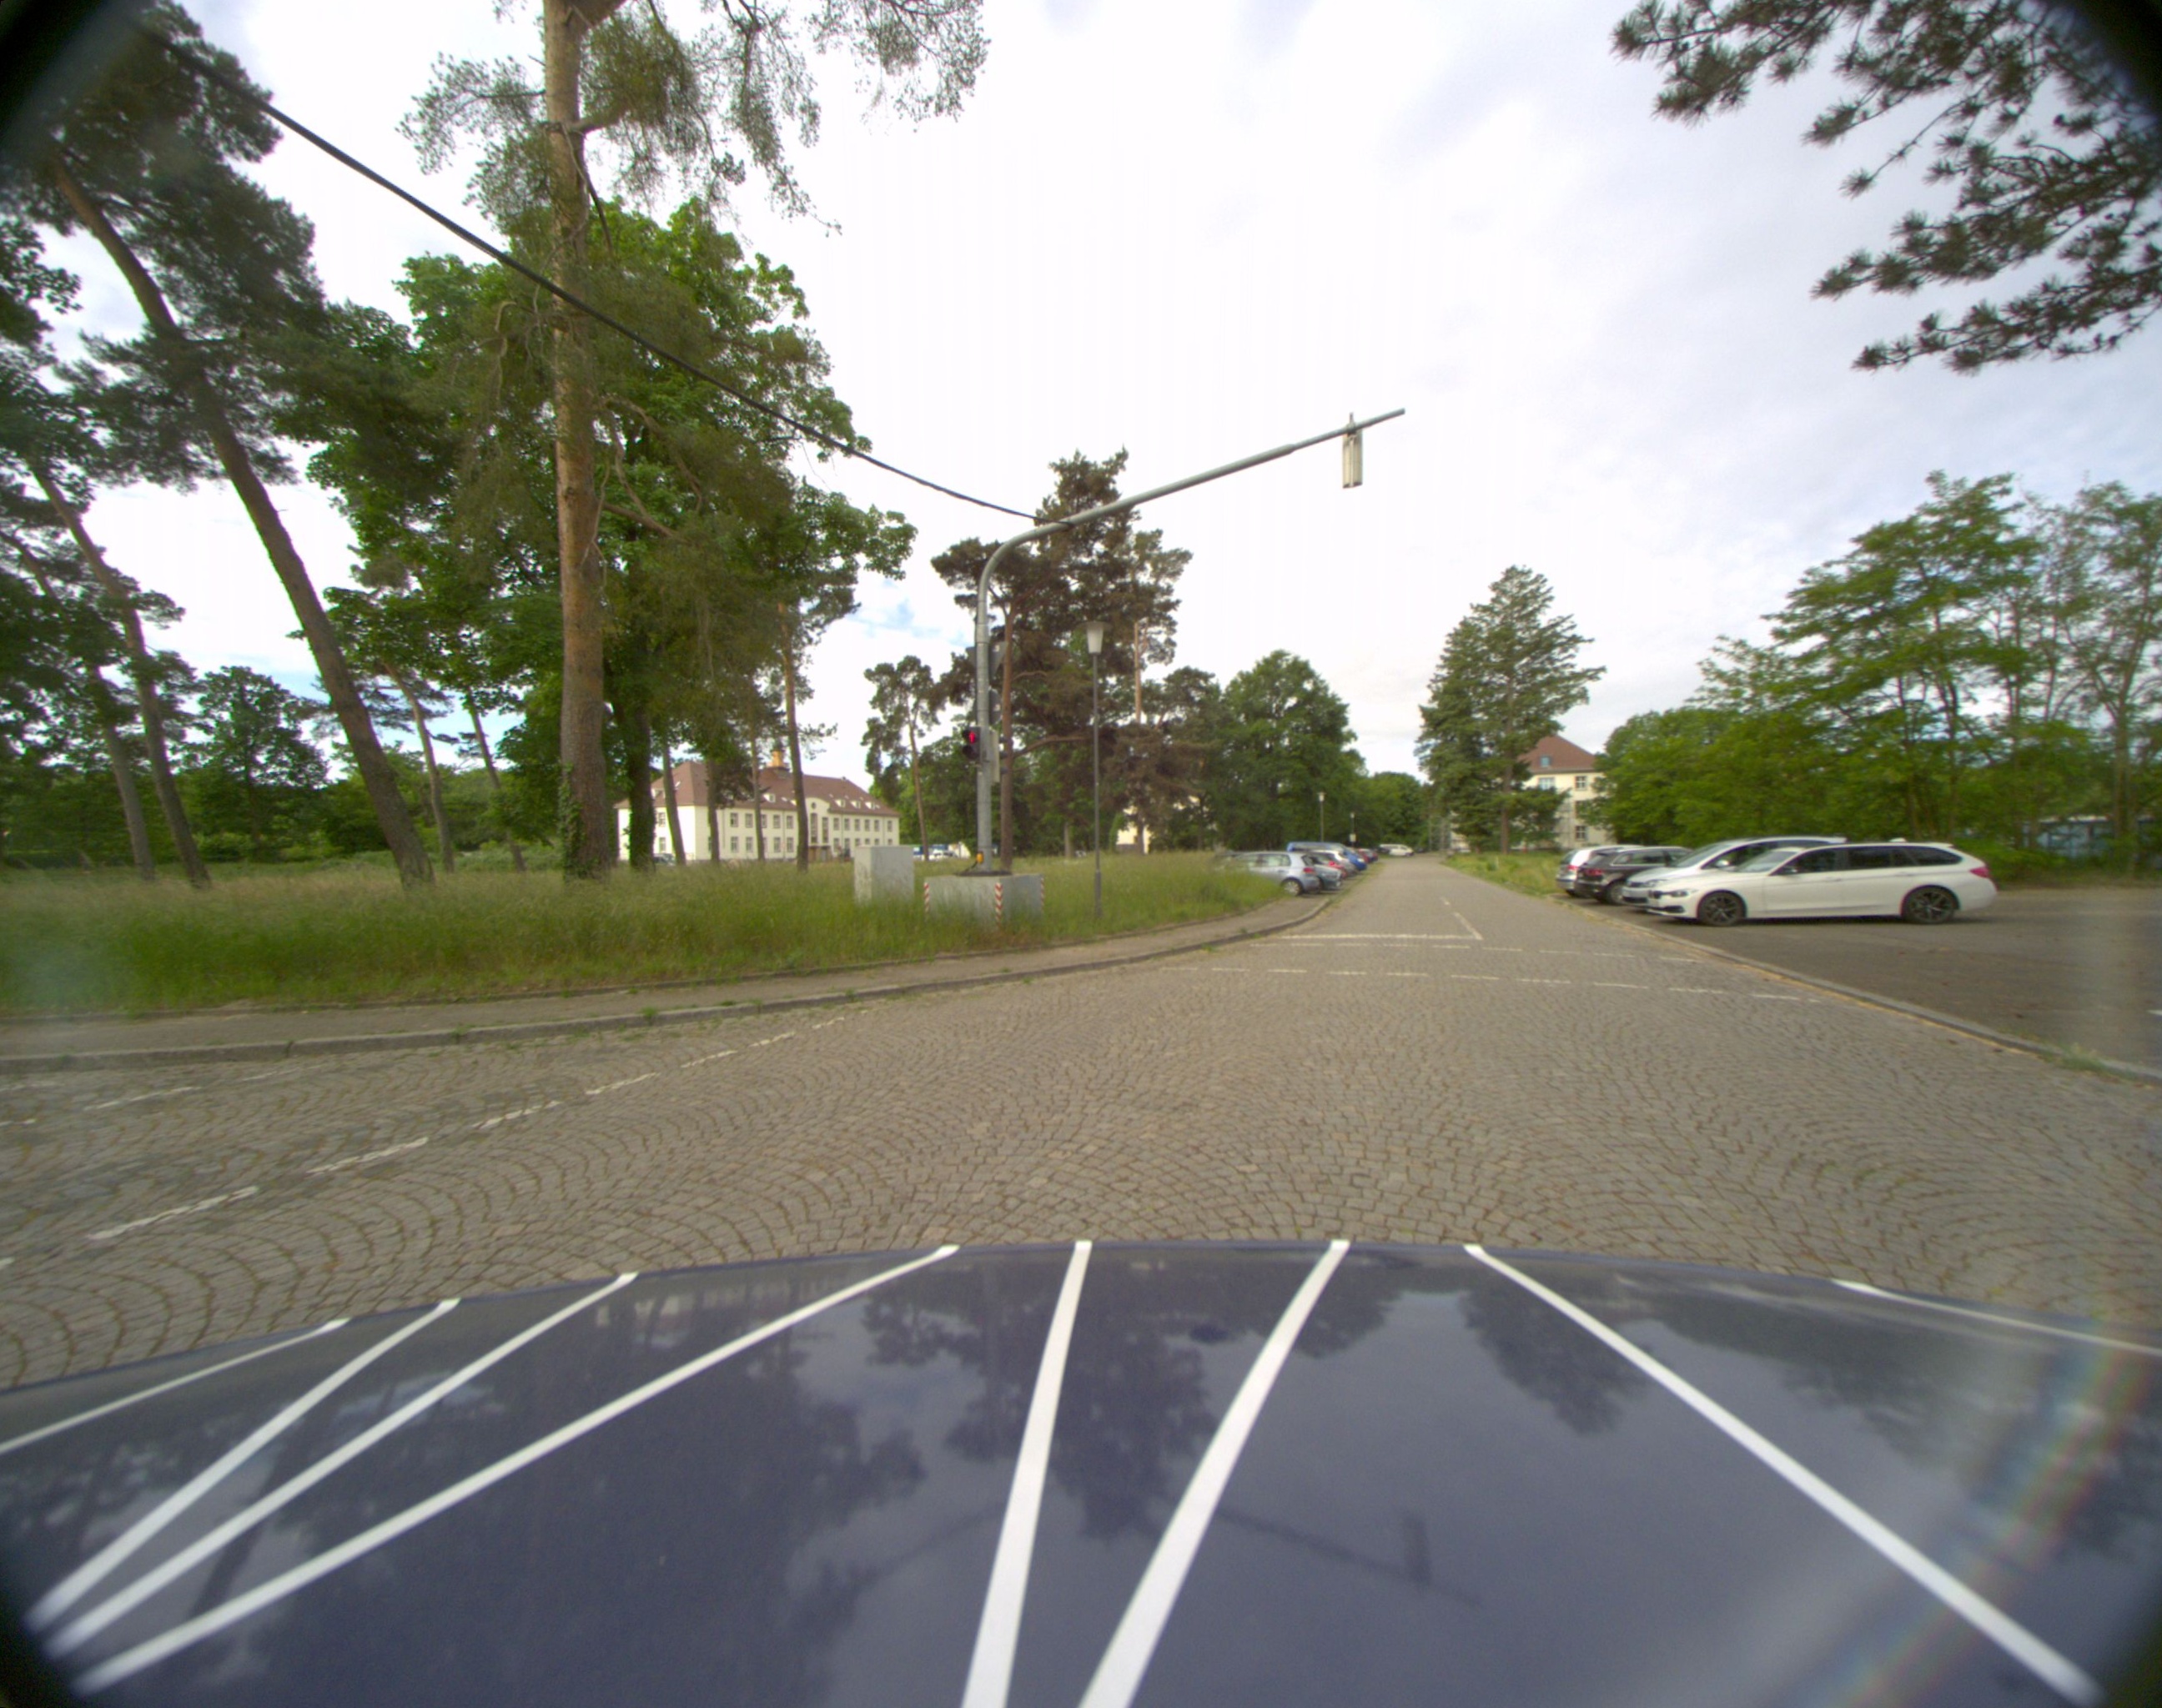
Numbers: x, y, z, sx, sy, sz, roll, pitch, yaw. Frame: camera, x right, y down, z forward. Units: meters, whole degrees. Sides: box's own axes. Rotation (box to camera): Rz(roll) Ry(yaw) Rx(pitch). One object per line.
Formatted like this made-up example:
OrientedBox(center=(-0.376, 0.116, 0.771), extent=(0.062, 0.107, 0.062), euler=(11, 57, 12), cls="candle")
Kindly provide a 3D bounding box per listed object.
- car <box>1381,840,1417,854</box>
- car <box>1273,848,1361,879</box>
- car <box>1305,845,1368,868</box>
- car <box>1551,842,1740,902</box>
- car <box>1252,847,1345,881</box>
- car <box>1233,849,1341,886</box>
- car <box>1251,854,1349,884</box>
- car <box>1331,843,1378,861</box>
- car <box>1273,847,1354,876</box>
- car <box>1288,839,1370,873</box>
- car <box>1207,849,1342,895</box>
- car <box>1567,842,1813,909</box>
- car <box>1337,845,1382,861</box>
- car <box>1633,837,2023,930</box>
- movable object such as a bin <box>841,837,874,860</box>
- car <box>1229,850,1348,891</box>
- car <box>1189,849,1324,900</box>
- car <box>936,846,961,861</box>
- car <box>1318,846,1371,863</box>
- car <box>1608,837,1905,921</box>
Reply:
OrientedBox(center=(50.928, -1.175, 121.753), extent=(5.140, 2.137, 1.777), euler=(1, 1, 20), cls="car")
OrientedBox(center=(12.091, 0.443, 38.955), extent=(4.090, 1.508, 1.703), euler=(1, 1, 26), cls="car")
OrientedBox(center=(18.480, 0.145, 54.997), extent=(4.076, 1.584, 1.657), euler=(1, 1, 26), cls="car")
OrientedBox(center=(15.830, 0.496, 21.533), extent=(3.954, 1.461, 1.587), euler=(-3, 0, 20), cls="car")
OrientedBox(center=(10.458, 0.449, 36.574), extent=(4.043, 1.508, 1.603), euler=(1, 1, 26), cls="car")
OrientedBox(center=(8.677, 0.523, 32.048), extent=(4.176, 1.473, 1.720), euler=(1, 1, 24), cls="car")
OrientedBox(center=(9.776, 0.638, 33.964), extent=(4.043, 1.233, 1.552), euler=(1, 1, 24), cls="car")
OrientedBox(center=(26.635, -0.251, 74.015), extent=(4.075, 1.685, 1.729), euler=(1, 1, 30), cls="car")
OrientedBox(center=(12.790, 0.365, 41.837), extent=(4.043, 1.508, 1.603), euler=(1, 1, 26), cls="car")
OrientedBox(center=(15.238, 0.063, 46.684), extent=(4.594, 1.995, 1.915), euler=(1, 2, 25), cls="car")
OrientedBox(center=(6.907, 0.592, 27.118), extent=(4.431, 1.375, 1.666), euler=(2, 2, 22), cls="car")
OrientedBox(center=(14.964, 0.534, 18.990), extent=(4.440, 1.416, 1.724), euler=(-3, 0, 21), cls="car")
OrientedBox(center=(28.656, -0.131, 78.264), extent=(4.085, 1.524, 1.729), euler=(1, 1, 30), cls="car")
OrientedBox(center=(13.348, 0.565, 14.024), extent=(4.744, 1.479, 1.870), euler=(-2, -1, 21), cls="car")
OrientedBox(center=(-39.290, -0.951, 133.521), extent=(5.450, 3.748, 2.056), euler=(-1, 1, 27), cls="movable object such as a bin")
OrientedBox(center=(8.079, 0.581, 29.608), extent=(4.240, 1.465, 1.720), euler=(1, 1, 25), cls="car")
OrientedBox(center=(5.723, 0.608, 24.761), extent=(4.004, 1.421, 1.700), euler=(2, 2, 22), cls="car")
OrientedBox(center=(-21.490, -0.120, 123.597), extent=(1.859, 2.351, 4.454), euler=(-1, 1, 23), cls="car")
OrientedBox(center=(22.357, 0.010, 64.575), extent=(4.076, 1.436, 1.729), euler=(1, 1, 25), cls="car")
OrientedBox(center=(14.286, 0.538, 16.404), extent=(4.368, 1.588, 1.875), euler=(-2, 0, 17), cls="car")
